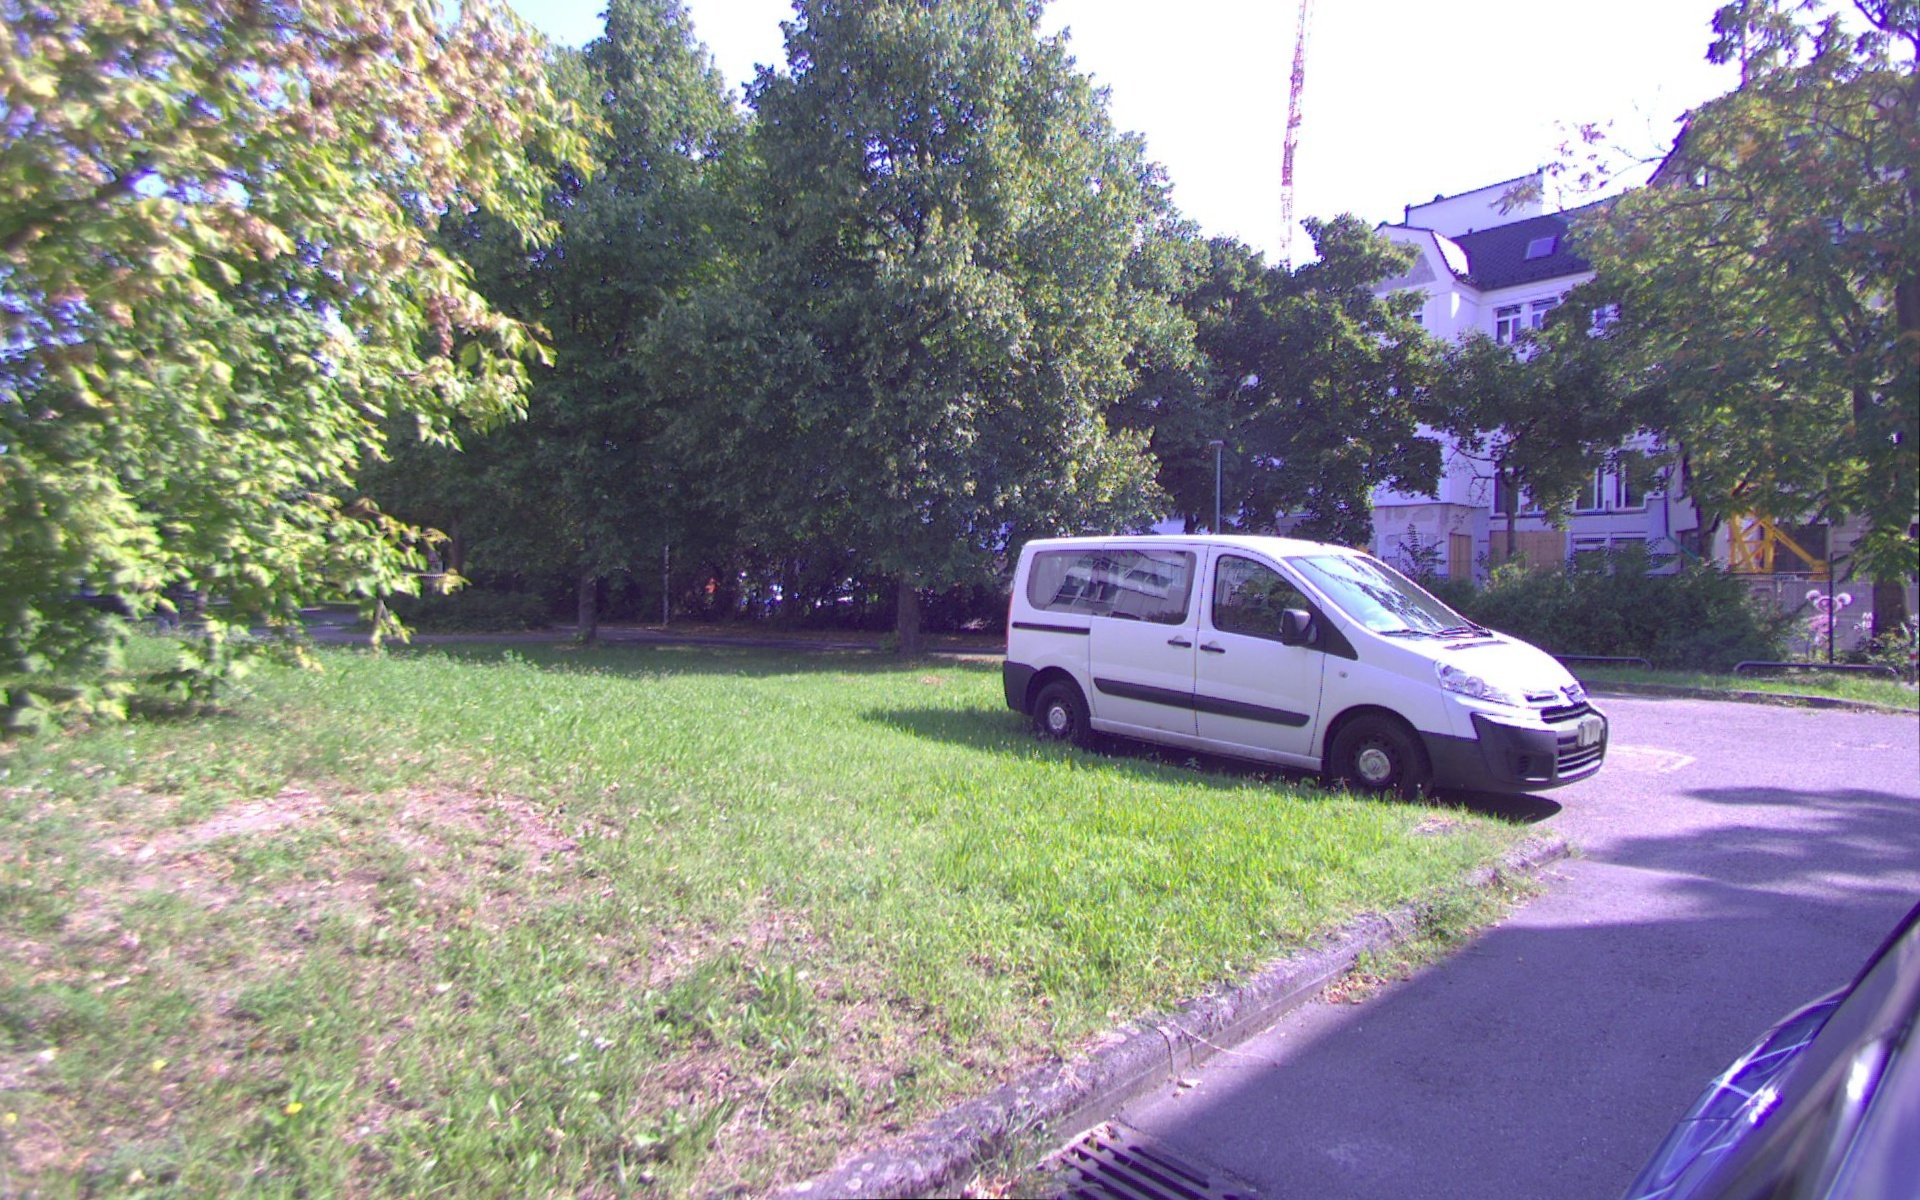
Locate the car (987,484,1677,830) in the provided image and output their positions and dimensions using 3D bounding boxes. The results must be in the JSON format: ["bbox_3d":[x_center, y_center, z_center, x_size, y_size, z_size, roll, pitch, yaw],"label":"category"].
[{"bbox_3d":[2.602,0.285,8.253,2.007,1.945,4.968,-1,1,-39],"label":"car"}]
